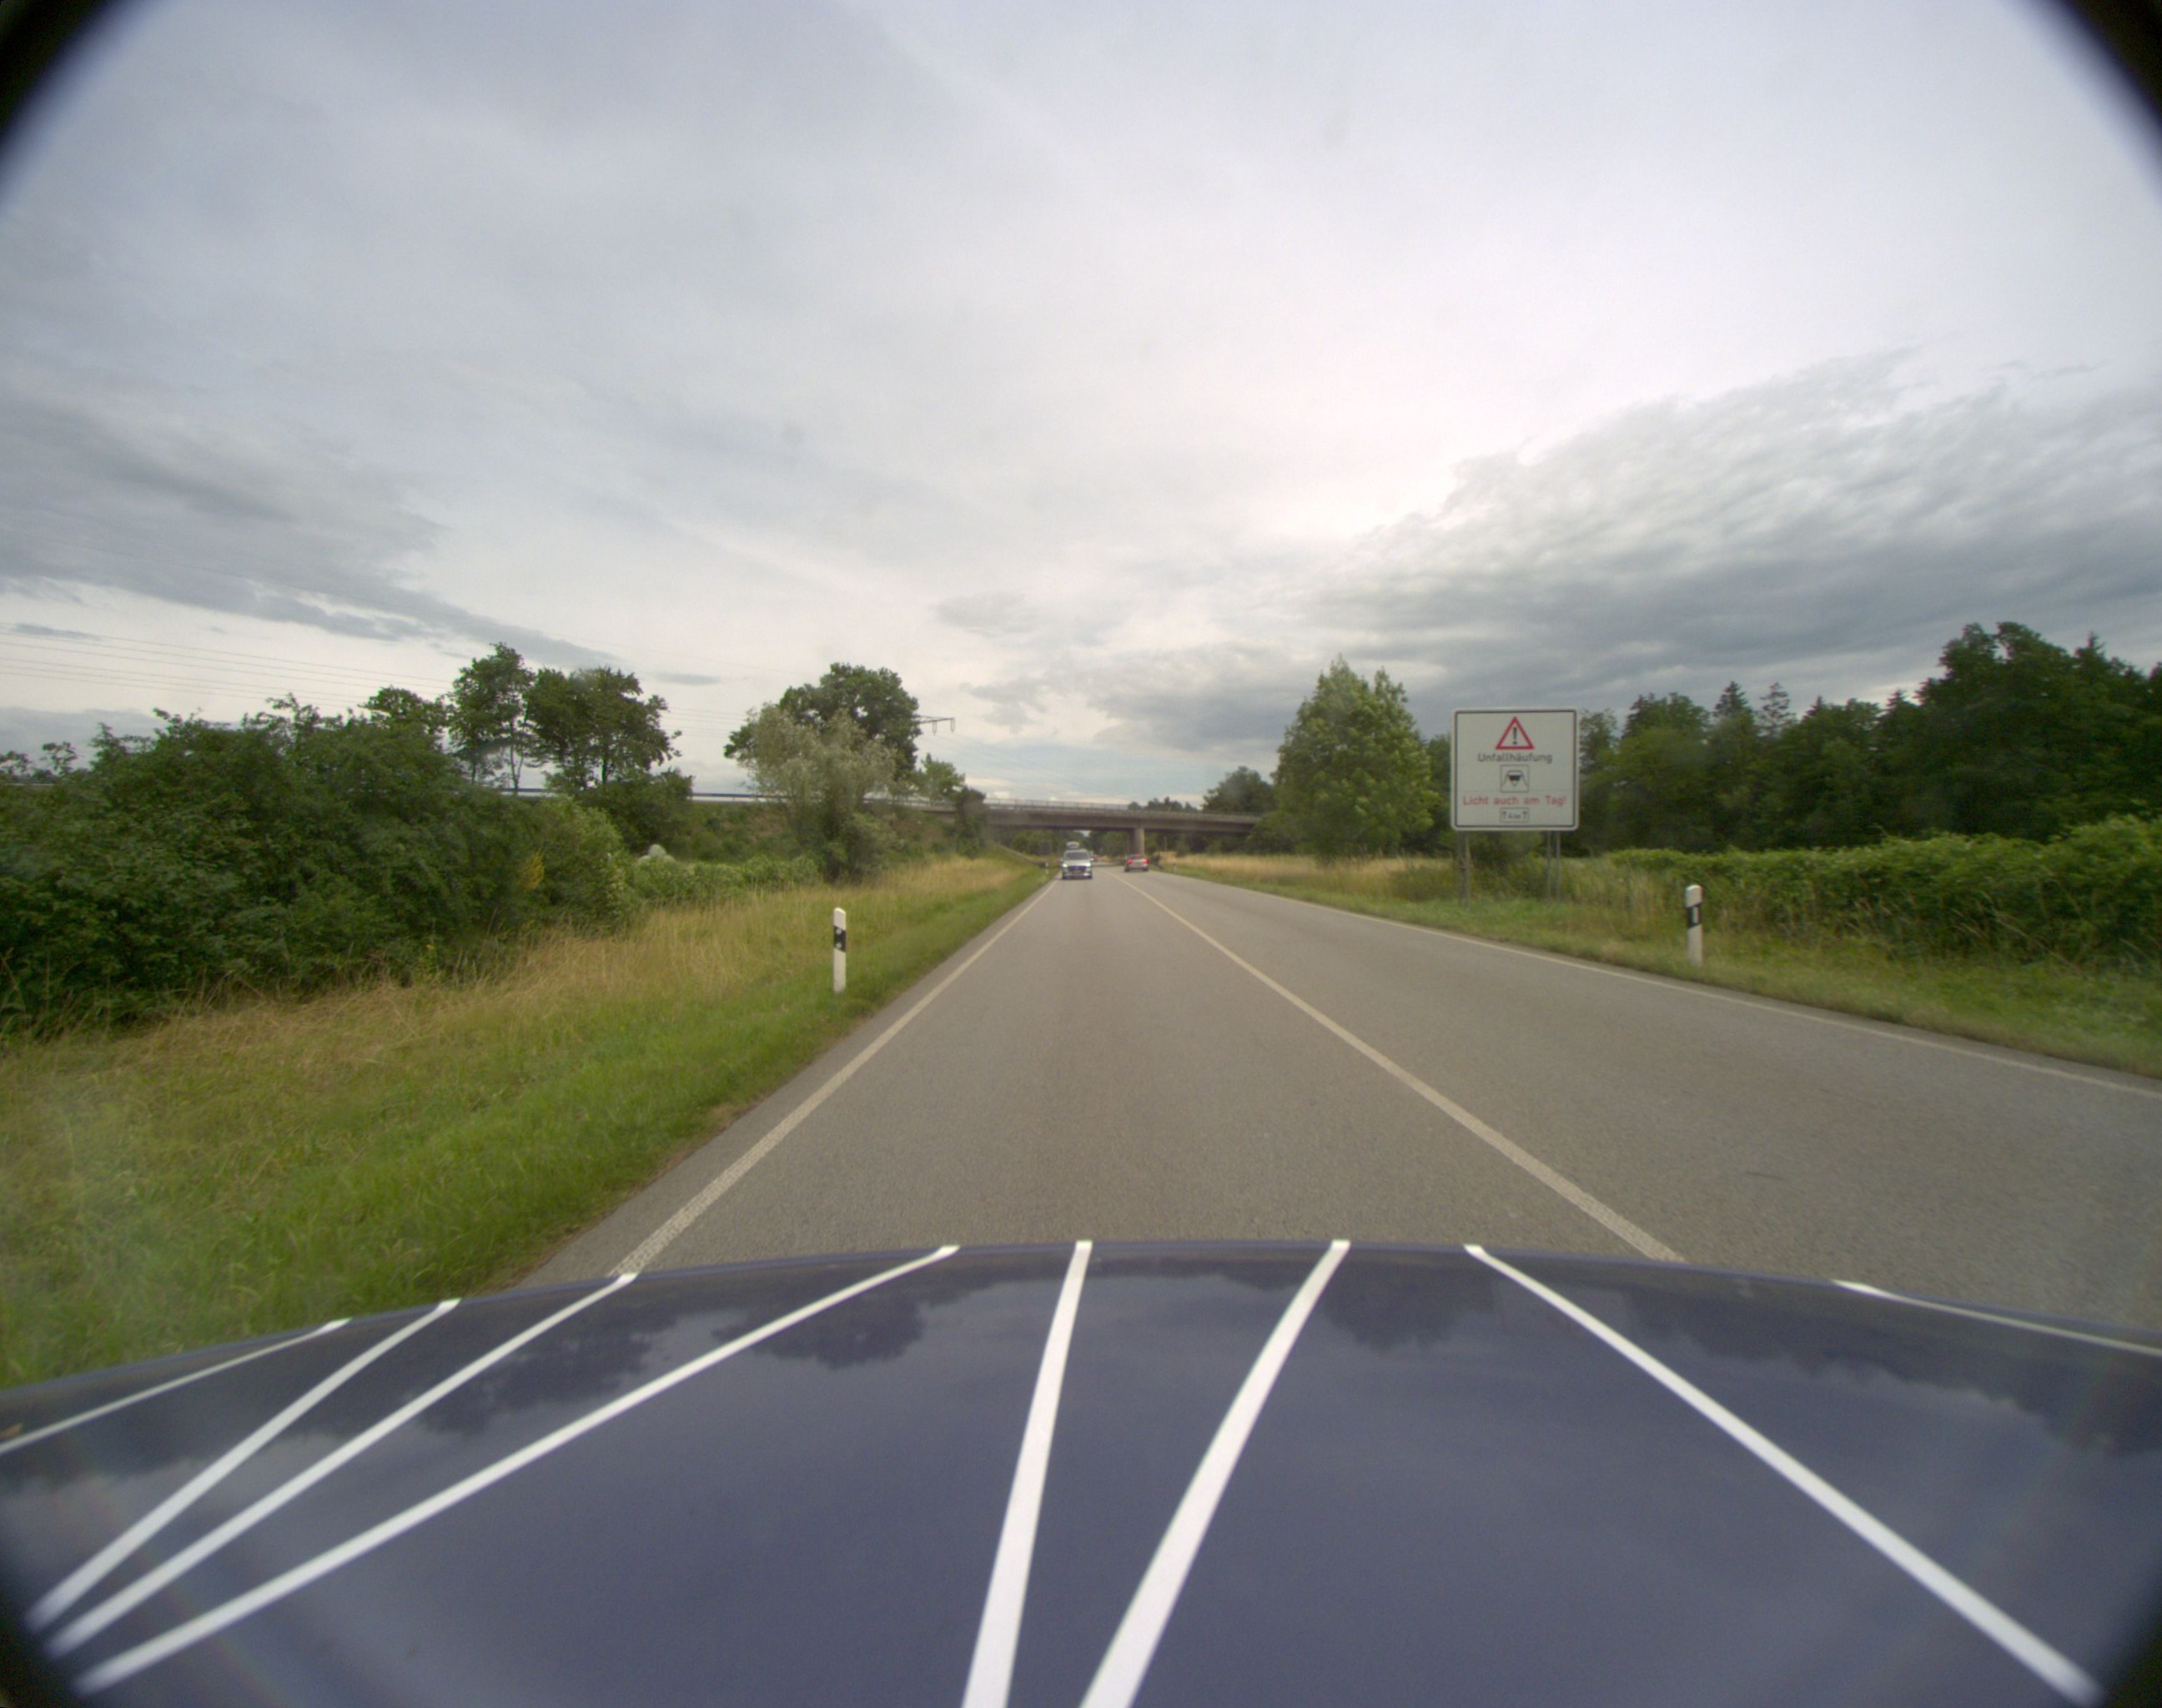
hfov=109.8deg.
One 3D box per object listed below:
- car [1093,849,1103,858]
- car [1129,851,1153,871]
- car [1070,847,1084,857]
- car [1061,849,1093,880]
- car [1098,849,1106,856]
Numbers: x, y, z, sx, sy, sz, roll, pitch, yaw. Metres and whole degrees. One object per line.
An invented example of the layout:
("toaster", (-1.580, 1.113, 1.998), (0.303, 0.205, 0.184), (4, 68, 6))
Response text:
("car", (3.507, -0.120, 157.801), (1.800, 1.653, 3.999), (-3, 1, 0))
("car", (5.072, 0.573, 64.401), (1.771, 1.455, 4.000), (-3, 1, 2))
("car", (-0.724, -0.414, 150.928), (1.997, 2.002, 4.002), (-2, 1, 9))
("car", (-0.224, 0.648, 49.237), (1.923, 1.823, 3.999), (-3, 1, 0))
("car", (4.832, -0.403, 177.250), (1.800, 1.653, 3.999), (-3, 1, 0))
